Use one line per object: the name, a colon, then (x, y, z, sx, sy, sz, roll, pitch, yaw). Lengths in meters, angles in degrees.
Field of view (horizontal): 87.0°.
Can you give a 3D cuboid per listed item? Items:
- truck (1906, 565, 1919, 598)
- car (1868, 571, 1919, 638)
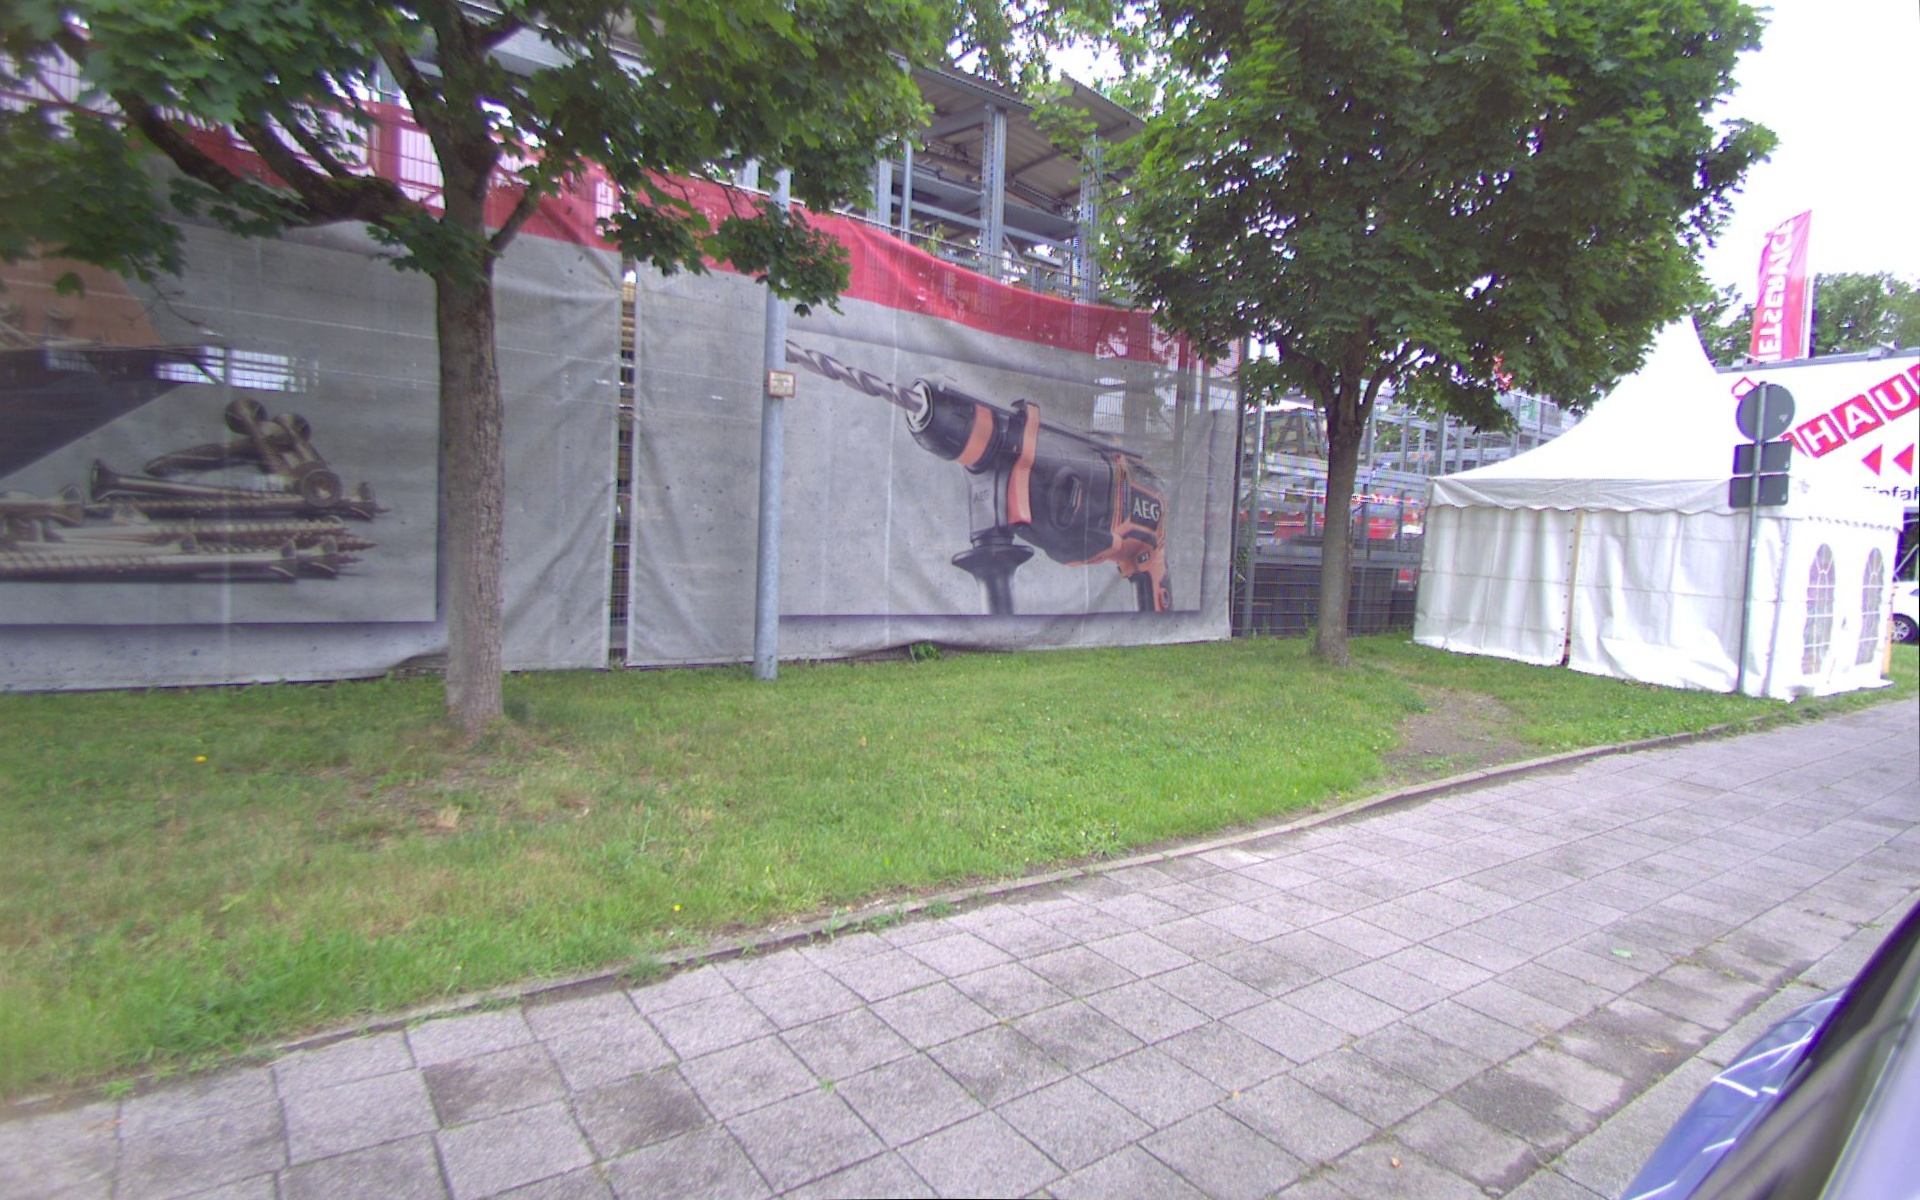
truck: (73.473, -1.312, 75.327, 3.928, 2.425, 1.999, 3, 3, 4)
car: (22.773, 0.192, 21.728, 1.902, 1.445, 4.499, -1, 4, -34)
